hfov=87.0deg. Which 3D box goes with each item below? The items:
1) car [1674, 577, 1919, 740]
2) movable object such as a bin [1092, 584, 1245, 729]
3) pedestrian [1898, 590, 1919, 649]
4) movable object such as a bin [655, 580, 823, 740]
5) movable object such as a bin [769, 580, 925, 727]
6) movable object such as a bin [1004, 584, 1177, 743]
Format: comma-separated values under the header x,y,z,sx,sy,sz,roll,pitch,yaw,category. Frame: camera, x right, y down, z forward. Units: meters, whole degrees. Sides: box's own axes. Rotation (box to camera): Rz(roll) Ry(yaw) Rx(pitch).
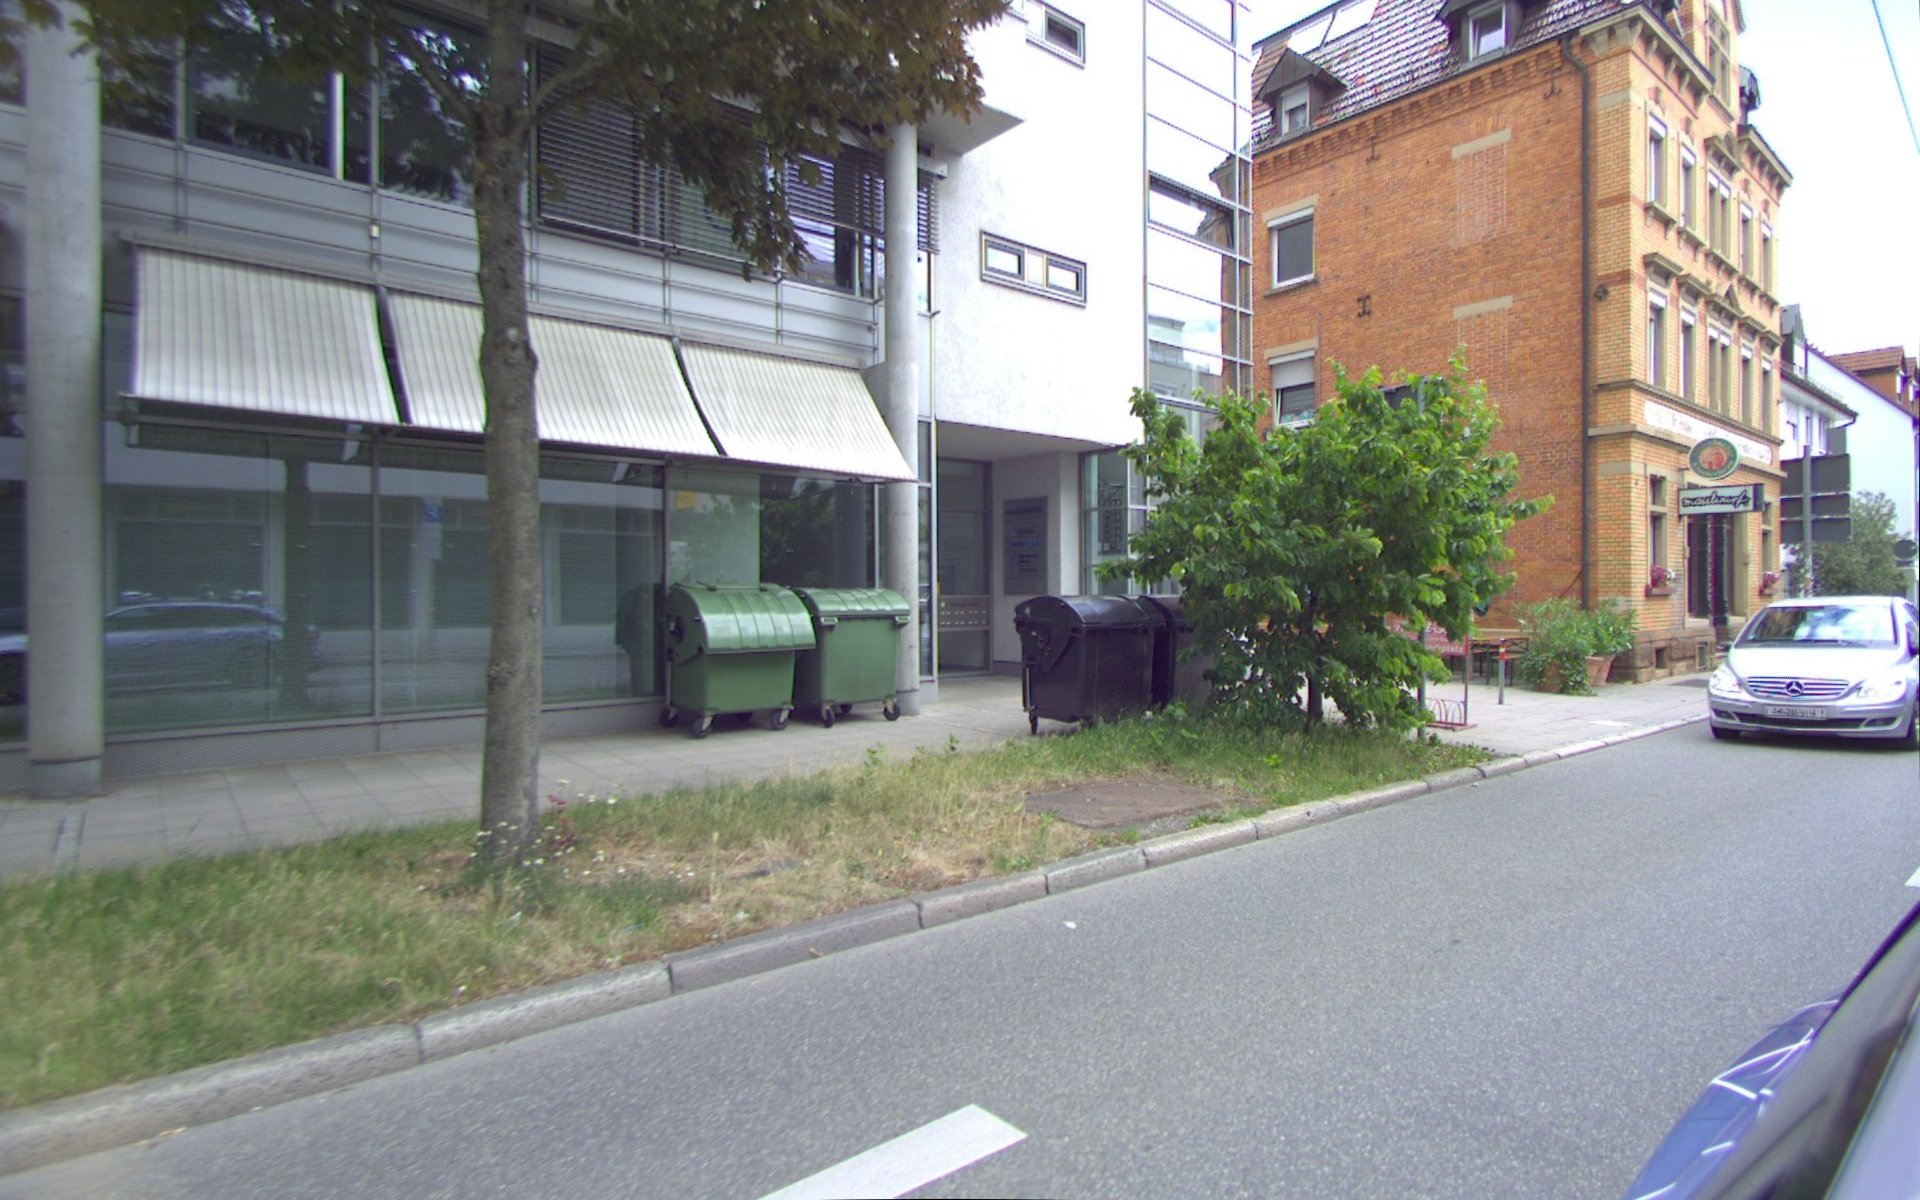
x,y,z,sx,sy,sz,roll,pitch,yaw,category
10.365,0.586,11.931,4.488,1.566,1.997,0,-2,-39,car
2.348,0.576,11.391,1.310,1.484,1.100,0,2,-41,movable object such as a bin
28.643,0.575,30.368,0.638,1.752,0.689,0,0,-41,pedestrian
-2.255,0.553,10.340,1.310,1.484,1.100,0,2,-41,movable object such as a bin
-1.259,0.537,11.233,1.310,1.484,1.124,0,2,-41,movable object such as a bin
1.353,0.587,10.479,1.388,1.484,1.129,0,2,-41,movable object such as a bin
